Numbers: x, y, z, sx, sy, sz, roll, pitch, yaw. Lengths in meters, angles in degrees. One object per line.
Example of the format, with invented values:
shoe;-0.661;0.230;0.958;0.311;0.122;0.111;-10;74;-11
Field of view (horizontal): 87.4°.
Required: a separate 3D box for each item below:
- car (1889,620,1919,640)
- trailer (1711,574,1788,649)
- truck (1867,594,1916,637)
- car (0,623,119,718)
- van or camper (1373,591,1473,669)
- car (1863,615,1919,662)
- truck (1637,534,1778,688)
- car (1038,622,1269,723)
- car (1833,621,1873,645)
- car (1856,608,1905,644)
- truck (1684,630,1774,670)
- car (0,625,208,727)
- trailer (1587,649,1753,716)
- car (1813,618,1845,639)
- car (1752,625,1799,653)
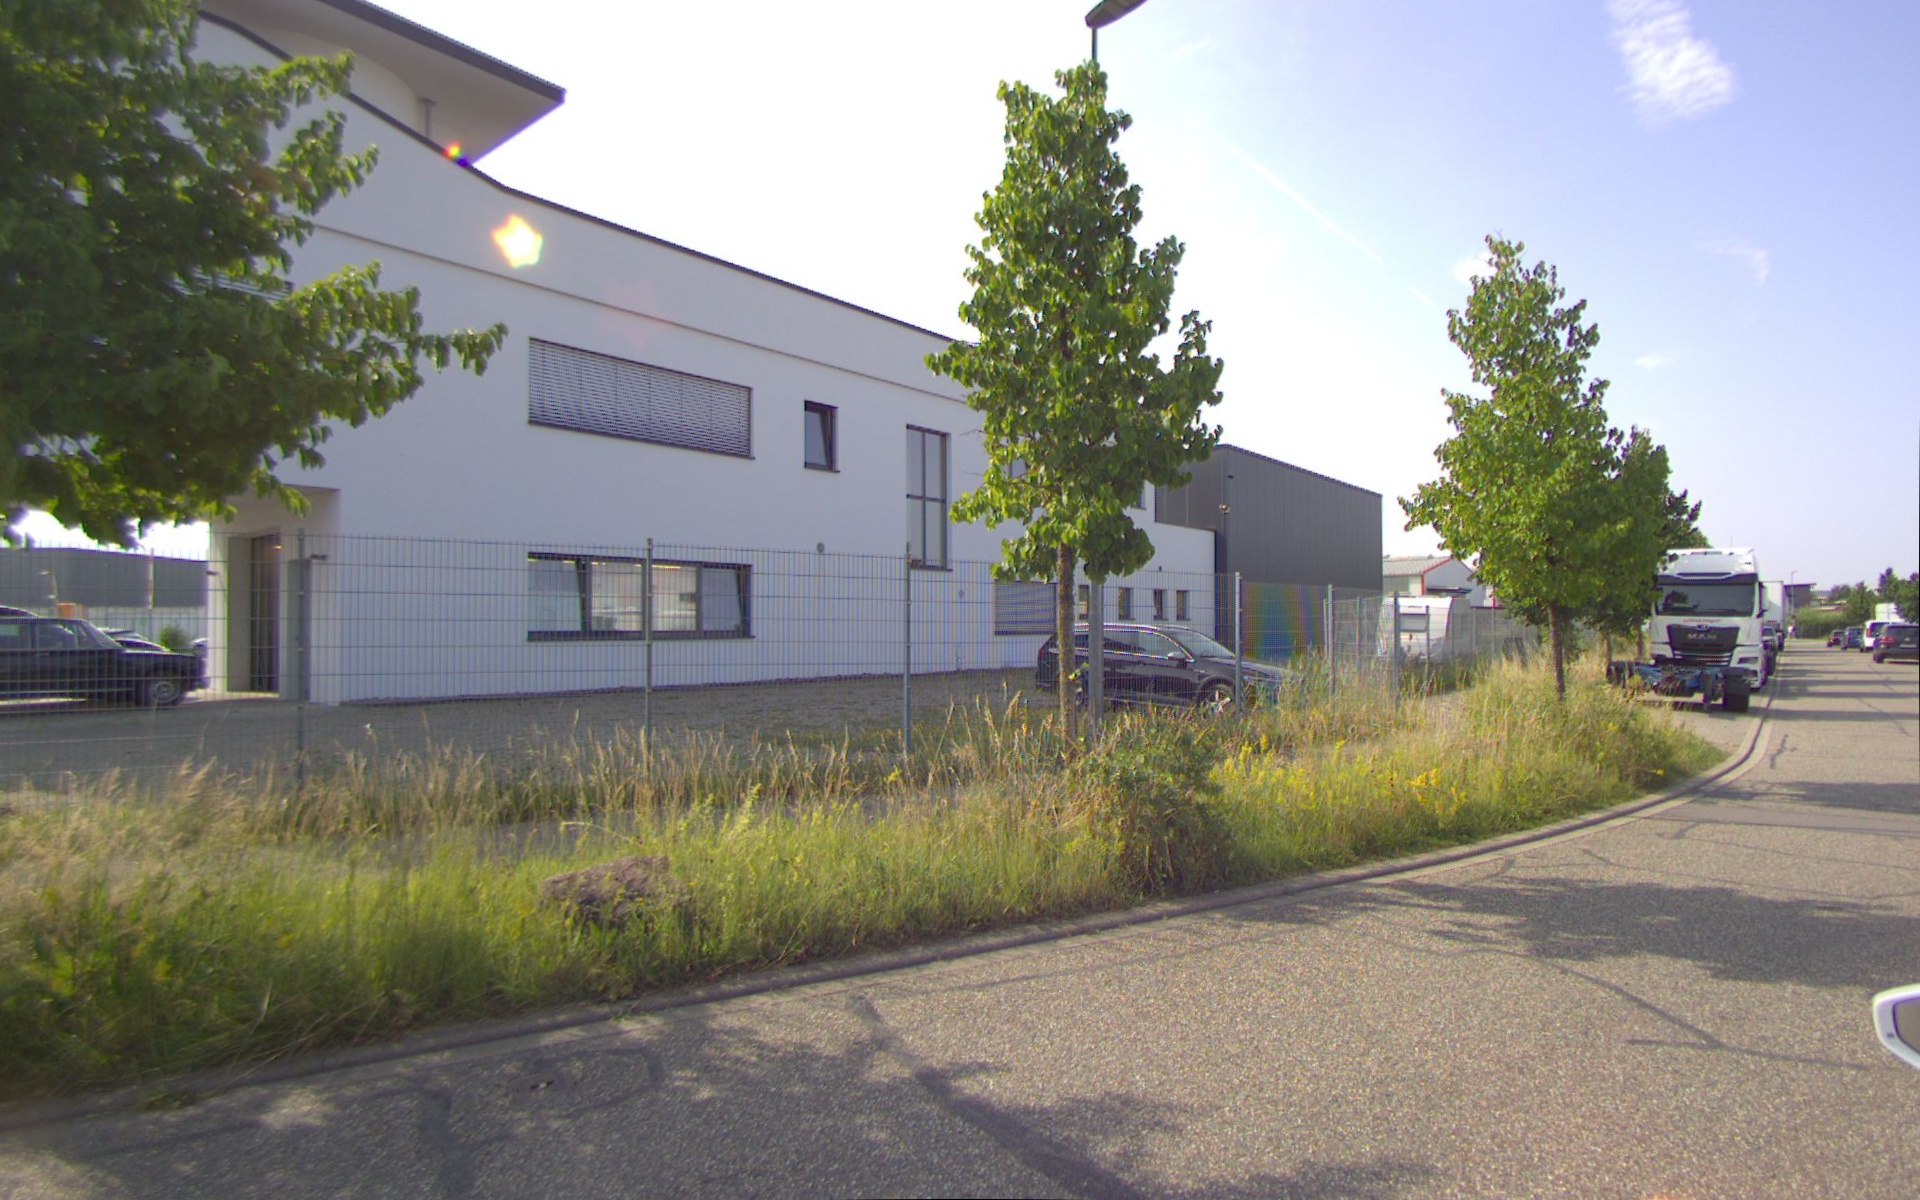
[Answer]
car;76.610;2.432;81.402;1.798;1.468;3.781;-3;-2;41
trailer;51.430;0.829;65.241;3.364;4.397;13.852;-2;-2;40
truck;83.267;1.415;89.867;2.855;3.633;8.019;-3;-3;41
car;-16.414;1.148;16.329;1.841;1.507;3.980;-1;-2;40
van or camper;16.735;1.060;36.176;2.276;2.594;4.935;-2;-2;37
car;39.939;1.603;42.845;1.971;1.829;3.979;-2;-1;41
truck;23.847;0.405;31.680;2.596;3.981;12.852;-1;-1;41
car;3.174;1.127;16.738;3.449;1.473;1.590;0;-1;38
car;63.414;2.347;71.361;1.970;1.661;3.982;-1;-2;40
car;53.220;1.466;58.063;1.973;1.925;4.439;-1;0;44
truck;29.173;1.836;38.001;2.494;1.282;6.497;-2;-2;39
car;-13.848;1.105;15.046;1.540;1.434;3.902;-1;-2;40
trailer;15.296;1.664;21.503;2.543;1.114;5.178;-2;-2;39
car;75.472;2.494;87.307;1.970;1.795;3.982;-1;-2;40
car;43.551;2.069;53.604;1.790;1.446;3.979;-2;-2;41
